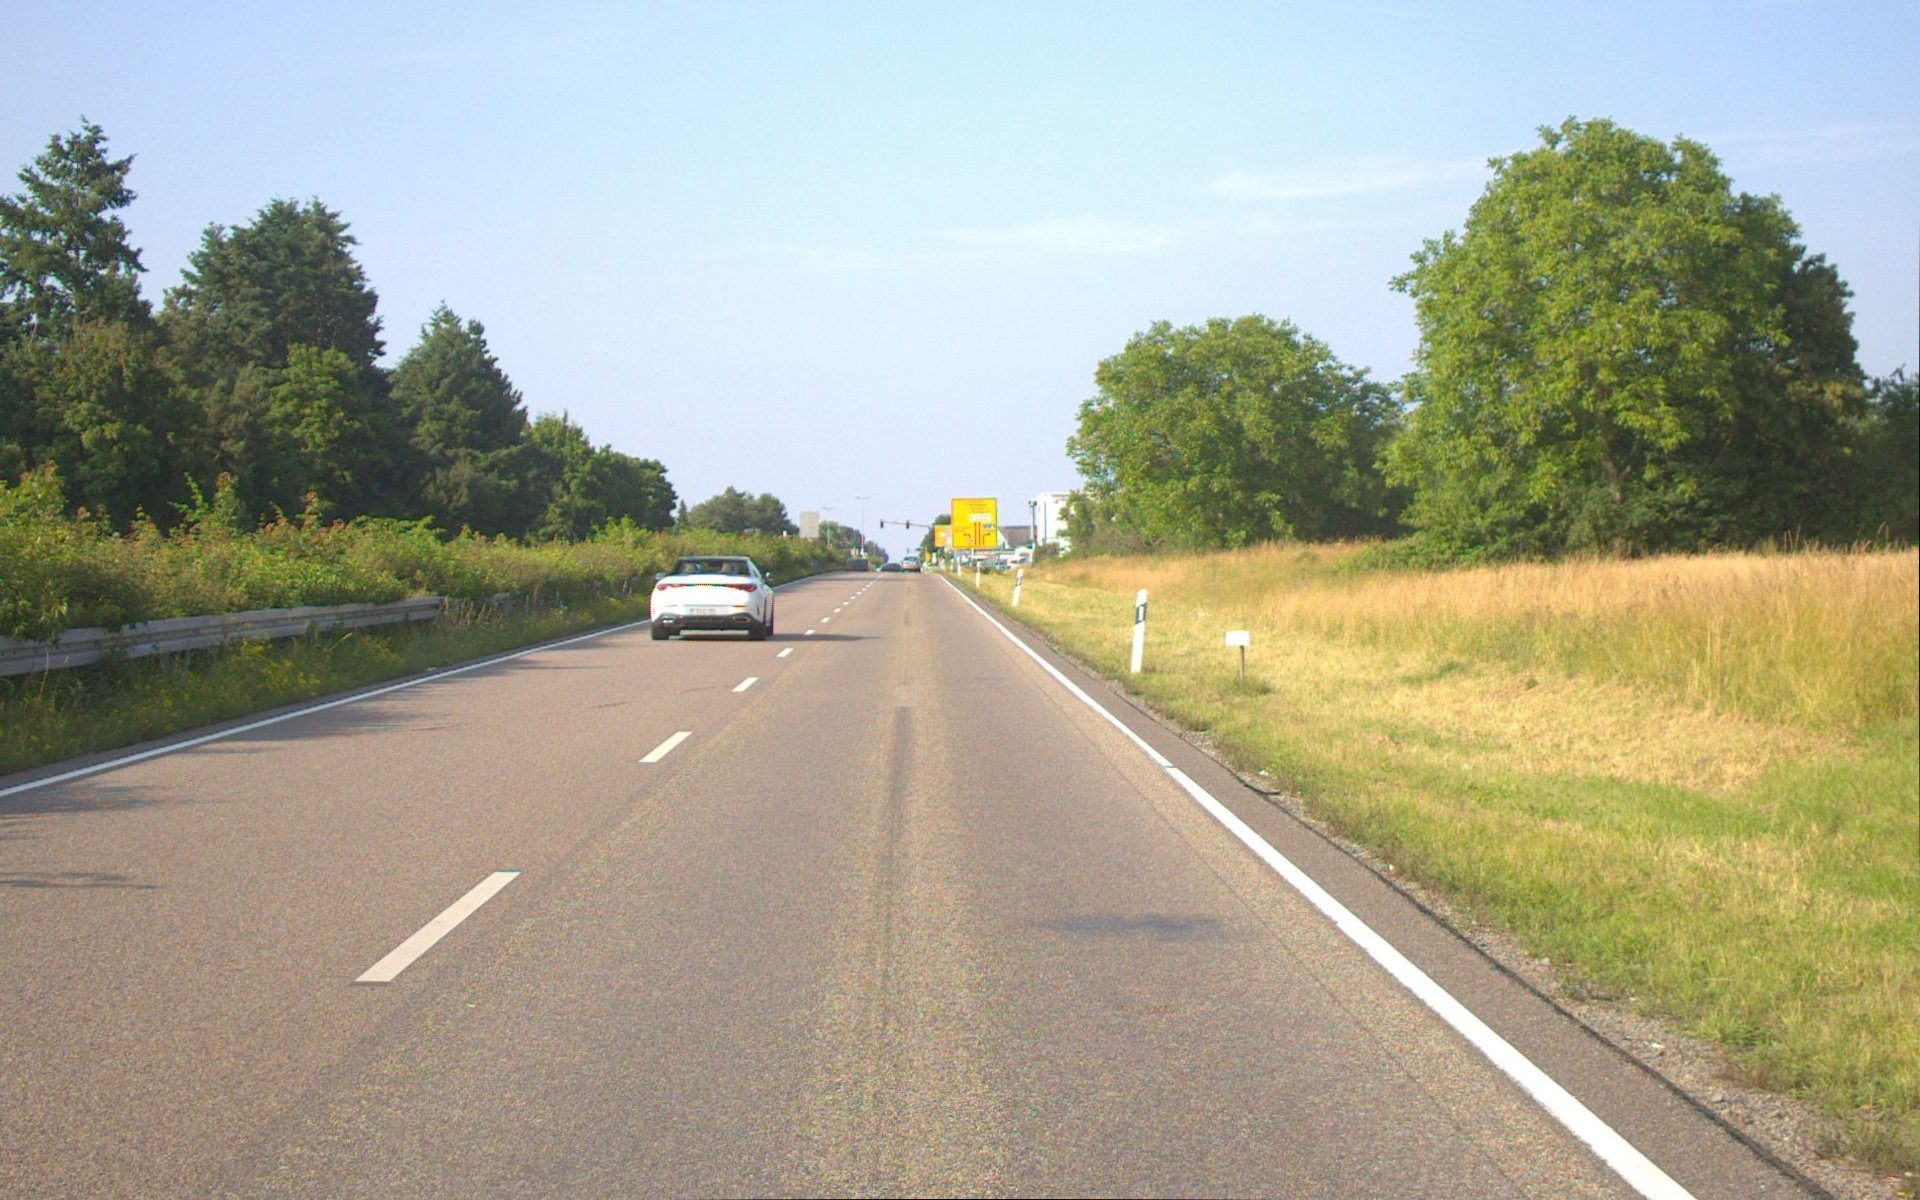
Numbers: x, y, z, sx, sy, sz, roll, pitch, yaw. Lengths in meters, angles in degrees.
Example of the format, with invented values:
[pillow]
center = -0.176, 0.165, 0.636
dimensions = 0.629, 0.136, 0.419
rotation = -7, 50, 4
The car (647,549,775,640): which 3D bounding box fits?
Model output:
[car]
center = -4.074, -0.112, 56.793
dimensions = 1.909, 1.417, 4.000
rotation = 1, 1, -1
